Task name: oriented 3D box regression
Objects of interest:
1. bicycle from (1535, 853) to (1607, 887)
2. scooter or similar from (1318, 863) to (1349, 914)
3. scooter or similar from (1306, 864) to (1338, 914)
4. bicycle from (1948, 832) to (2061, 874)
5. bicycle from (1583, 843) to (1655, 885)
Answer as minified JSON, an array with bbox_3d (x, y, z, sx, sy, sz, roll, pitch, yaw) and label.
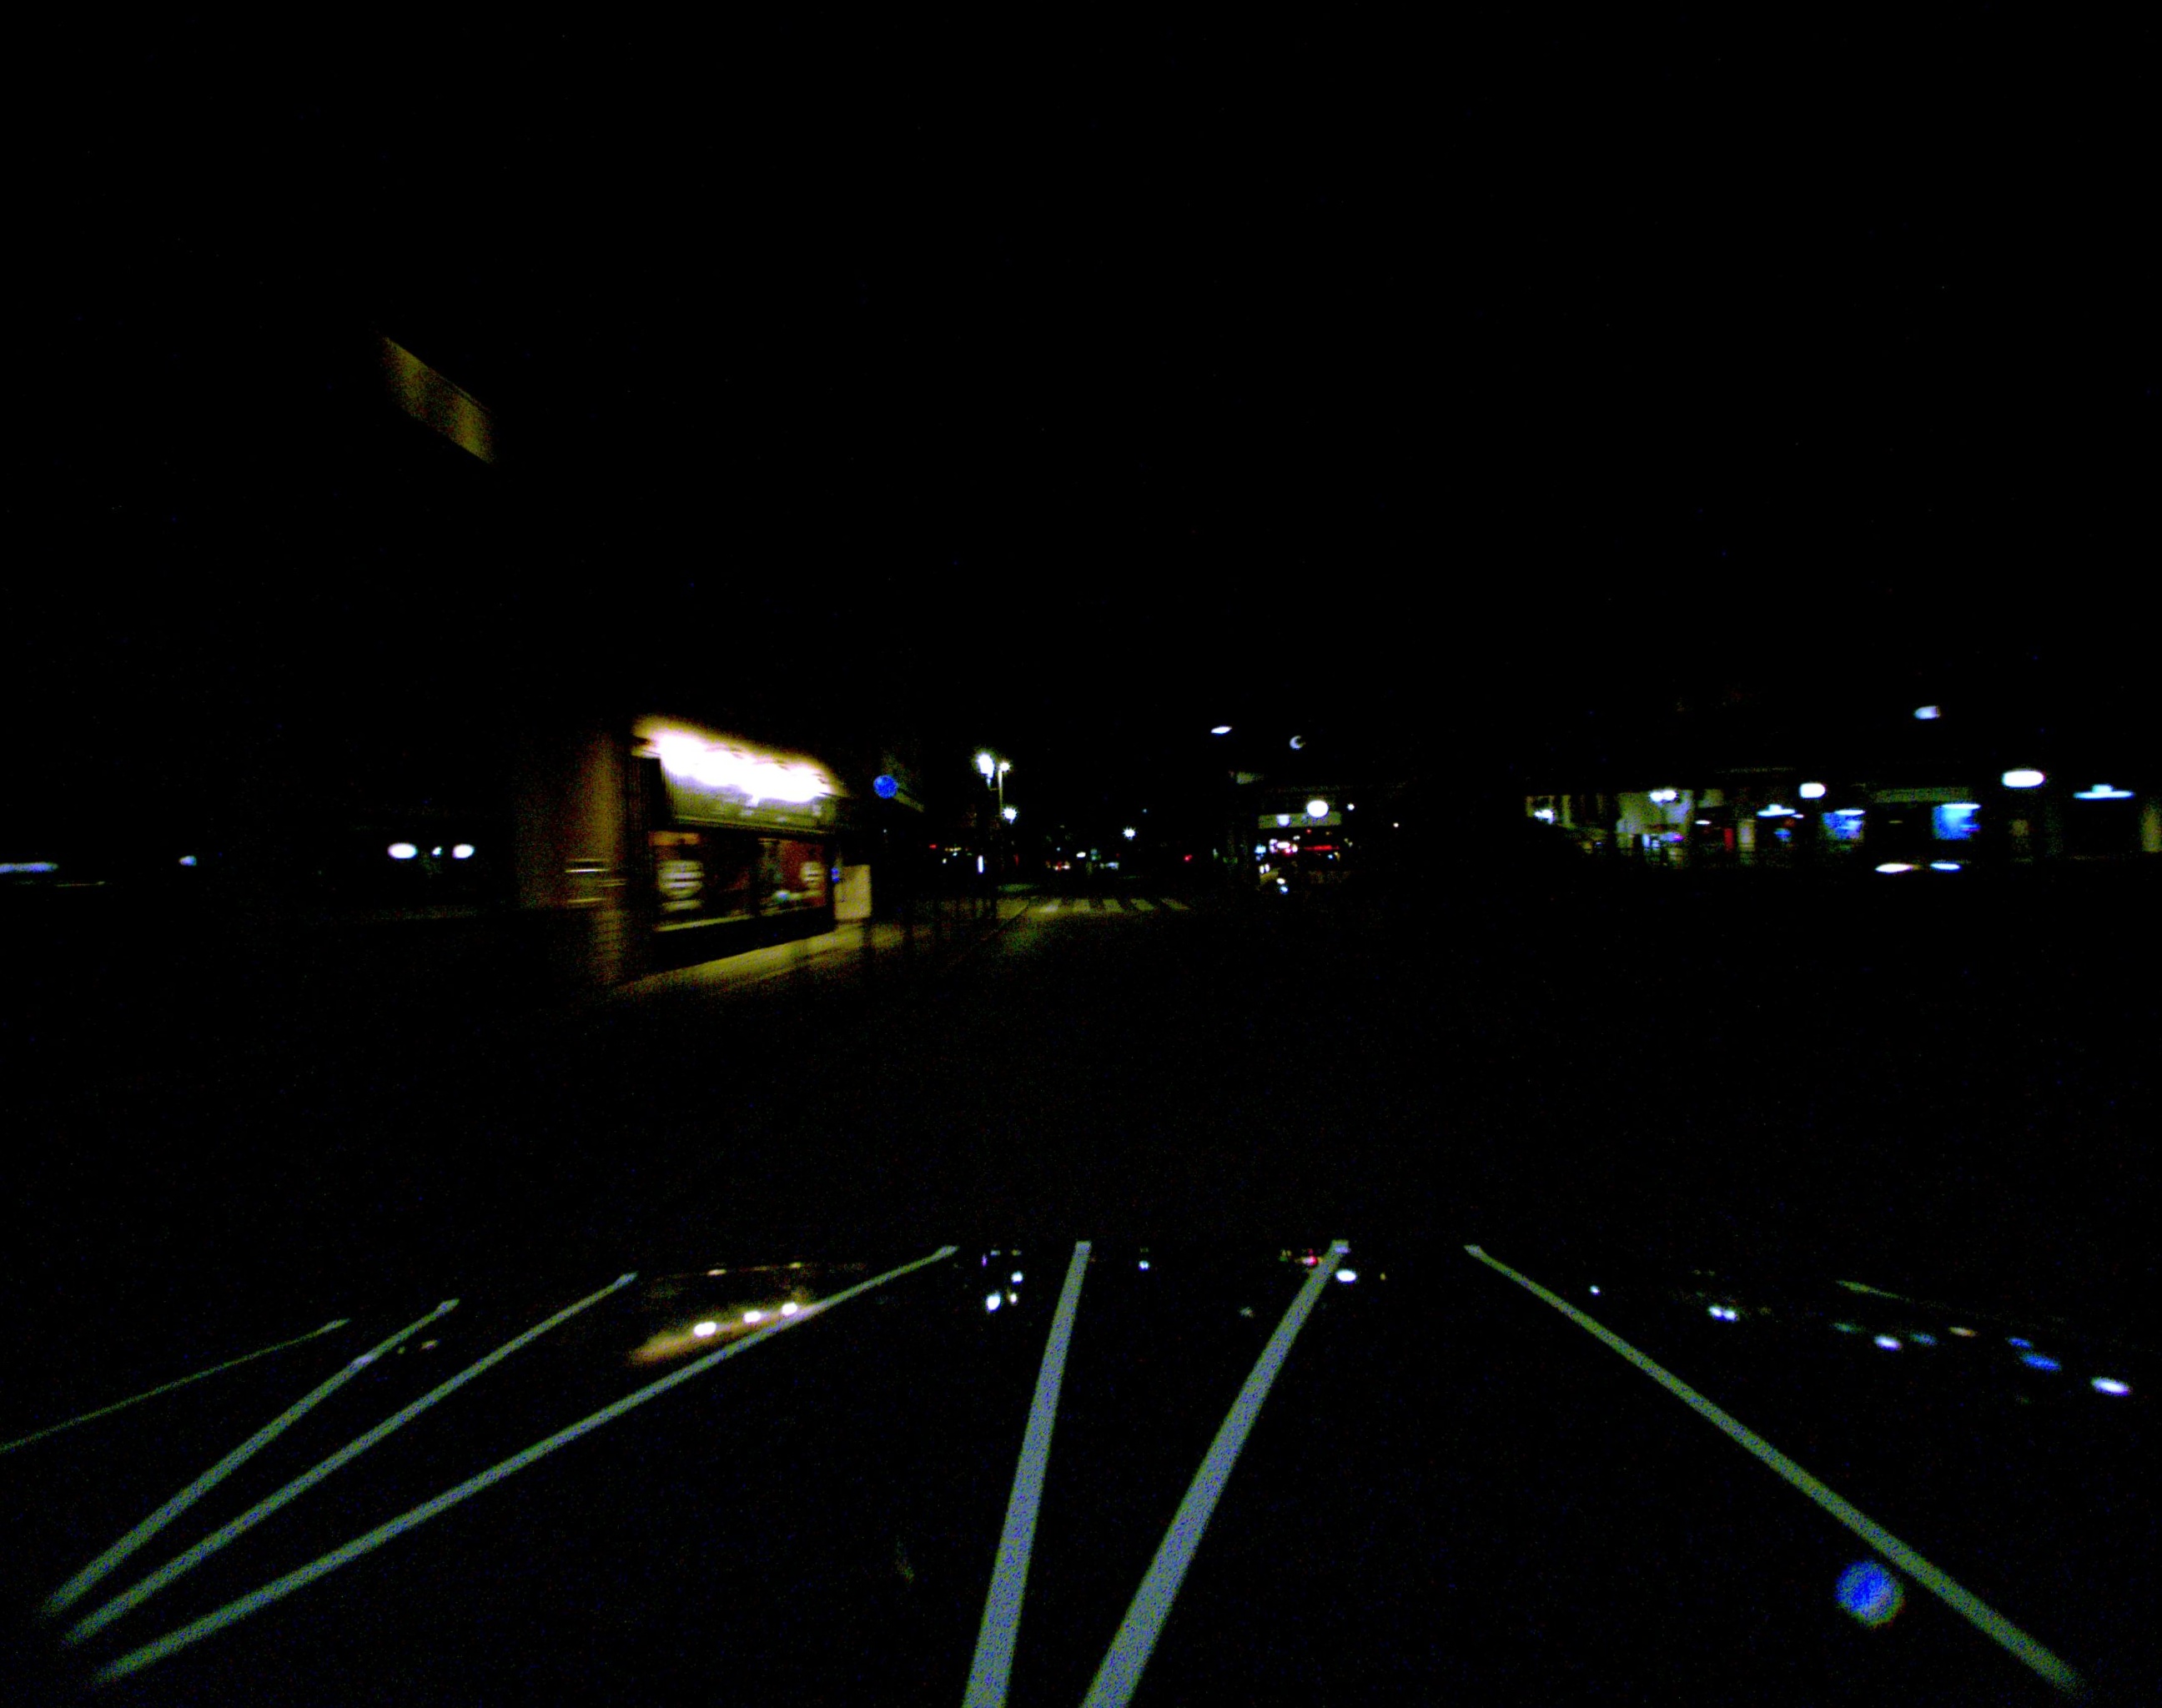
[{"bbox_3d":[16.995,0.522,26.440,0.861,1.081,2.482,-1,1,0],"label":"bicycle"},{"bbox_3d":[6.613,0.880,19.943,0.318,1.280,1.449,-3,-1,2],"label":"scooter or similar"},{"bbox_3d":[6.310,0.903,19.945,0.370,1.256,1.449,-3,-1,2],"label":"scooter or similar"},{"bbox_3d":[31.390,-0.057,25.898,0.775,1.356,2.510,-1,1,0],"label":"bicycle"},{"bbox_3d":[18.476,0.326,26.168,0.764,1.356,2.413,-1,1,0],"label":"bicycle"}]
